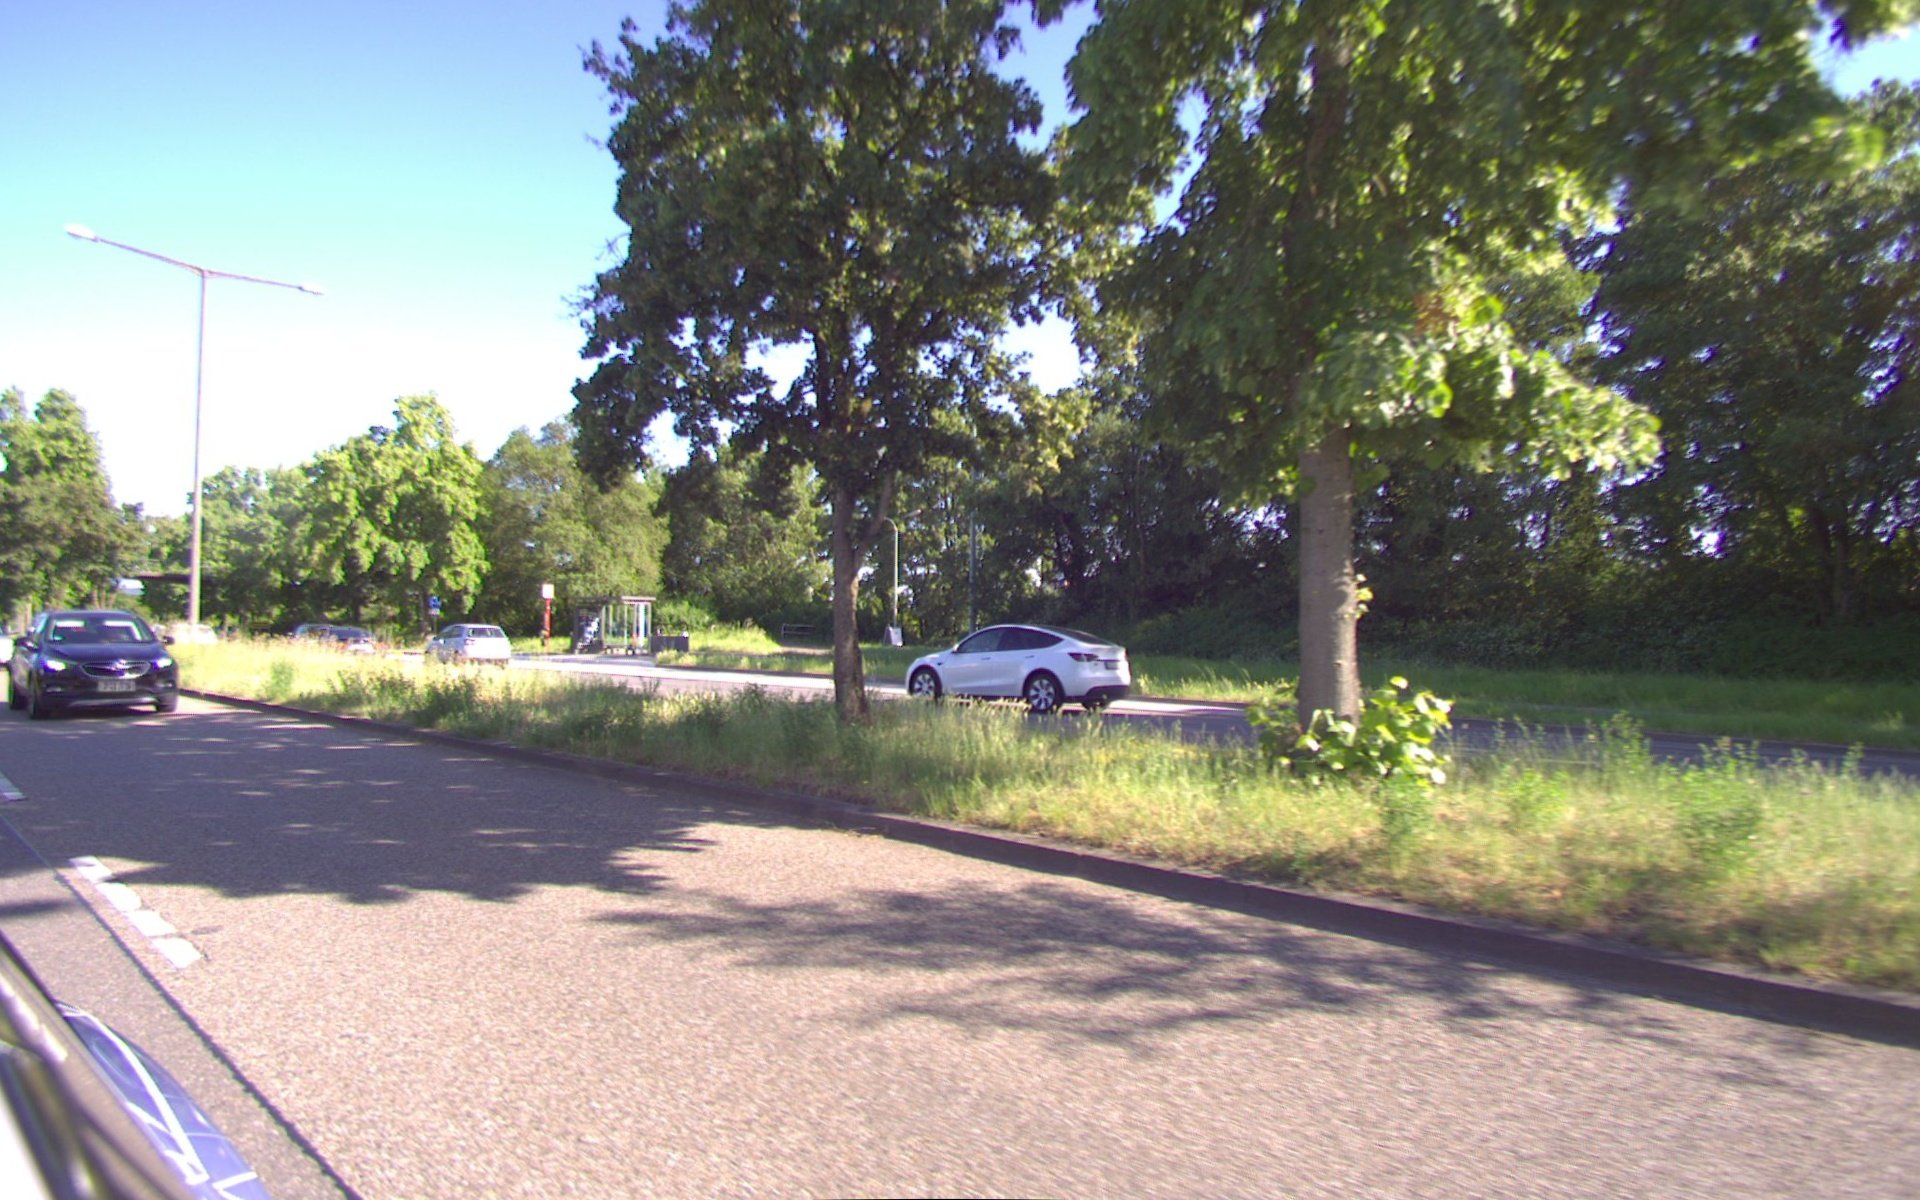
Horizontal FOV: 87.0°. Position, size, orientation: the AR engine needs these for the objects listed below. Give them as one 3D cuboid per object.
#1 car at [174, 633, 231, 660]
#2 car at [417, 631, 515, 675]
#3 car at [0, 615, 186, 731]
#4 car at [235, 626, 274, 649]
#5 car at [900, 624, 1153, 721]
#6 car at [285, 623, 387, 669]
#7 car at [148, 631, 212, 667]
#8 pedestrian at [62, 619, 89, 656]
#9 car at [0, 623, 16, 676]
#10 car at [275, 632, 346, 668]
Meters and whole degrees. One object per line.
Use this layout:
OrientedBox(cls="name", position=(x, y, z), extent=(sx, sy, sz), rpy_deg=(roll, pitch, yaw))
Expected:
OrientedBox(cls="car", position=(-44.746, 2.732, 59.751), extent=(4.593, 1.512, 1.786), rpy_deg=(-2, -2, 41))
OrientedBox(cls="car", position=(-17.570, 1.862, 35.907), extent=(4.063, 1.483, 1.694), rpy_deg=(-2, -4, 42))
OrientedBox(cls="car", position=(-14.212, 1.079, 16.407), extent=(4.512, 1.627, 1.787), rpy_deg=(-1, -2, 41))
OrientedBox(cls="car", position=(-45.421, 2.385, 65.178), extent=(1.563, 1.425, 3.134), rpy_deg=(1, -2, -44))
OrientedBox(cls="car", position=(1.182, 1.361, 19.344), extent=(4.581, 1.601, 1.821), rpy_deg=(-2, -8, 40))
OrientedBox(cls="car", position=(-20.290, 1.450, 32.837), extent=(4.249, 1.406, 1.683), rpy_deg=(-1, -2, 42))
OrientedBox(cls="car", position=(-37.239, 2.304, 48.271), extent=(4.358, 1.615, 1.695), rpy_deg=(-1, -2, 43))
OrientedBox(cls="pedestrian", position=(-40.917, 1.733, 46.828), extent=(0.621, 1.709, 0.946), rpy_deg=(0, -2, -18))
OrientedBox(cls="car", position=(-30.493, 1.527, 31.092), extent=(4.645, 1.574, 1.799), rpy_deg=(-3, -3, 42))
OrientedBox(cls="car", position=(-30.295, 2.309, 47.159), extent=(3.997, 1.575, 1.587), rpy_deg=(-2, -5, 40))
